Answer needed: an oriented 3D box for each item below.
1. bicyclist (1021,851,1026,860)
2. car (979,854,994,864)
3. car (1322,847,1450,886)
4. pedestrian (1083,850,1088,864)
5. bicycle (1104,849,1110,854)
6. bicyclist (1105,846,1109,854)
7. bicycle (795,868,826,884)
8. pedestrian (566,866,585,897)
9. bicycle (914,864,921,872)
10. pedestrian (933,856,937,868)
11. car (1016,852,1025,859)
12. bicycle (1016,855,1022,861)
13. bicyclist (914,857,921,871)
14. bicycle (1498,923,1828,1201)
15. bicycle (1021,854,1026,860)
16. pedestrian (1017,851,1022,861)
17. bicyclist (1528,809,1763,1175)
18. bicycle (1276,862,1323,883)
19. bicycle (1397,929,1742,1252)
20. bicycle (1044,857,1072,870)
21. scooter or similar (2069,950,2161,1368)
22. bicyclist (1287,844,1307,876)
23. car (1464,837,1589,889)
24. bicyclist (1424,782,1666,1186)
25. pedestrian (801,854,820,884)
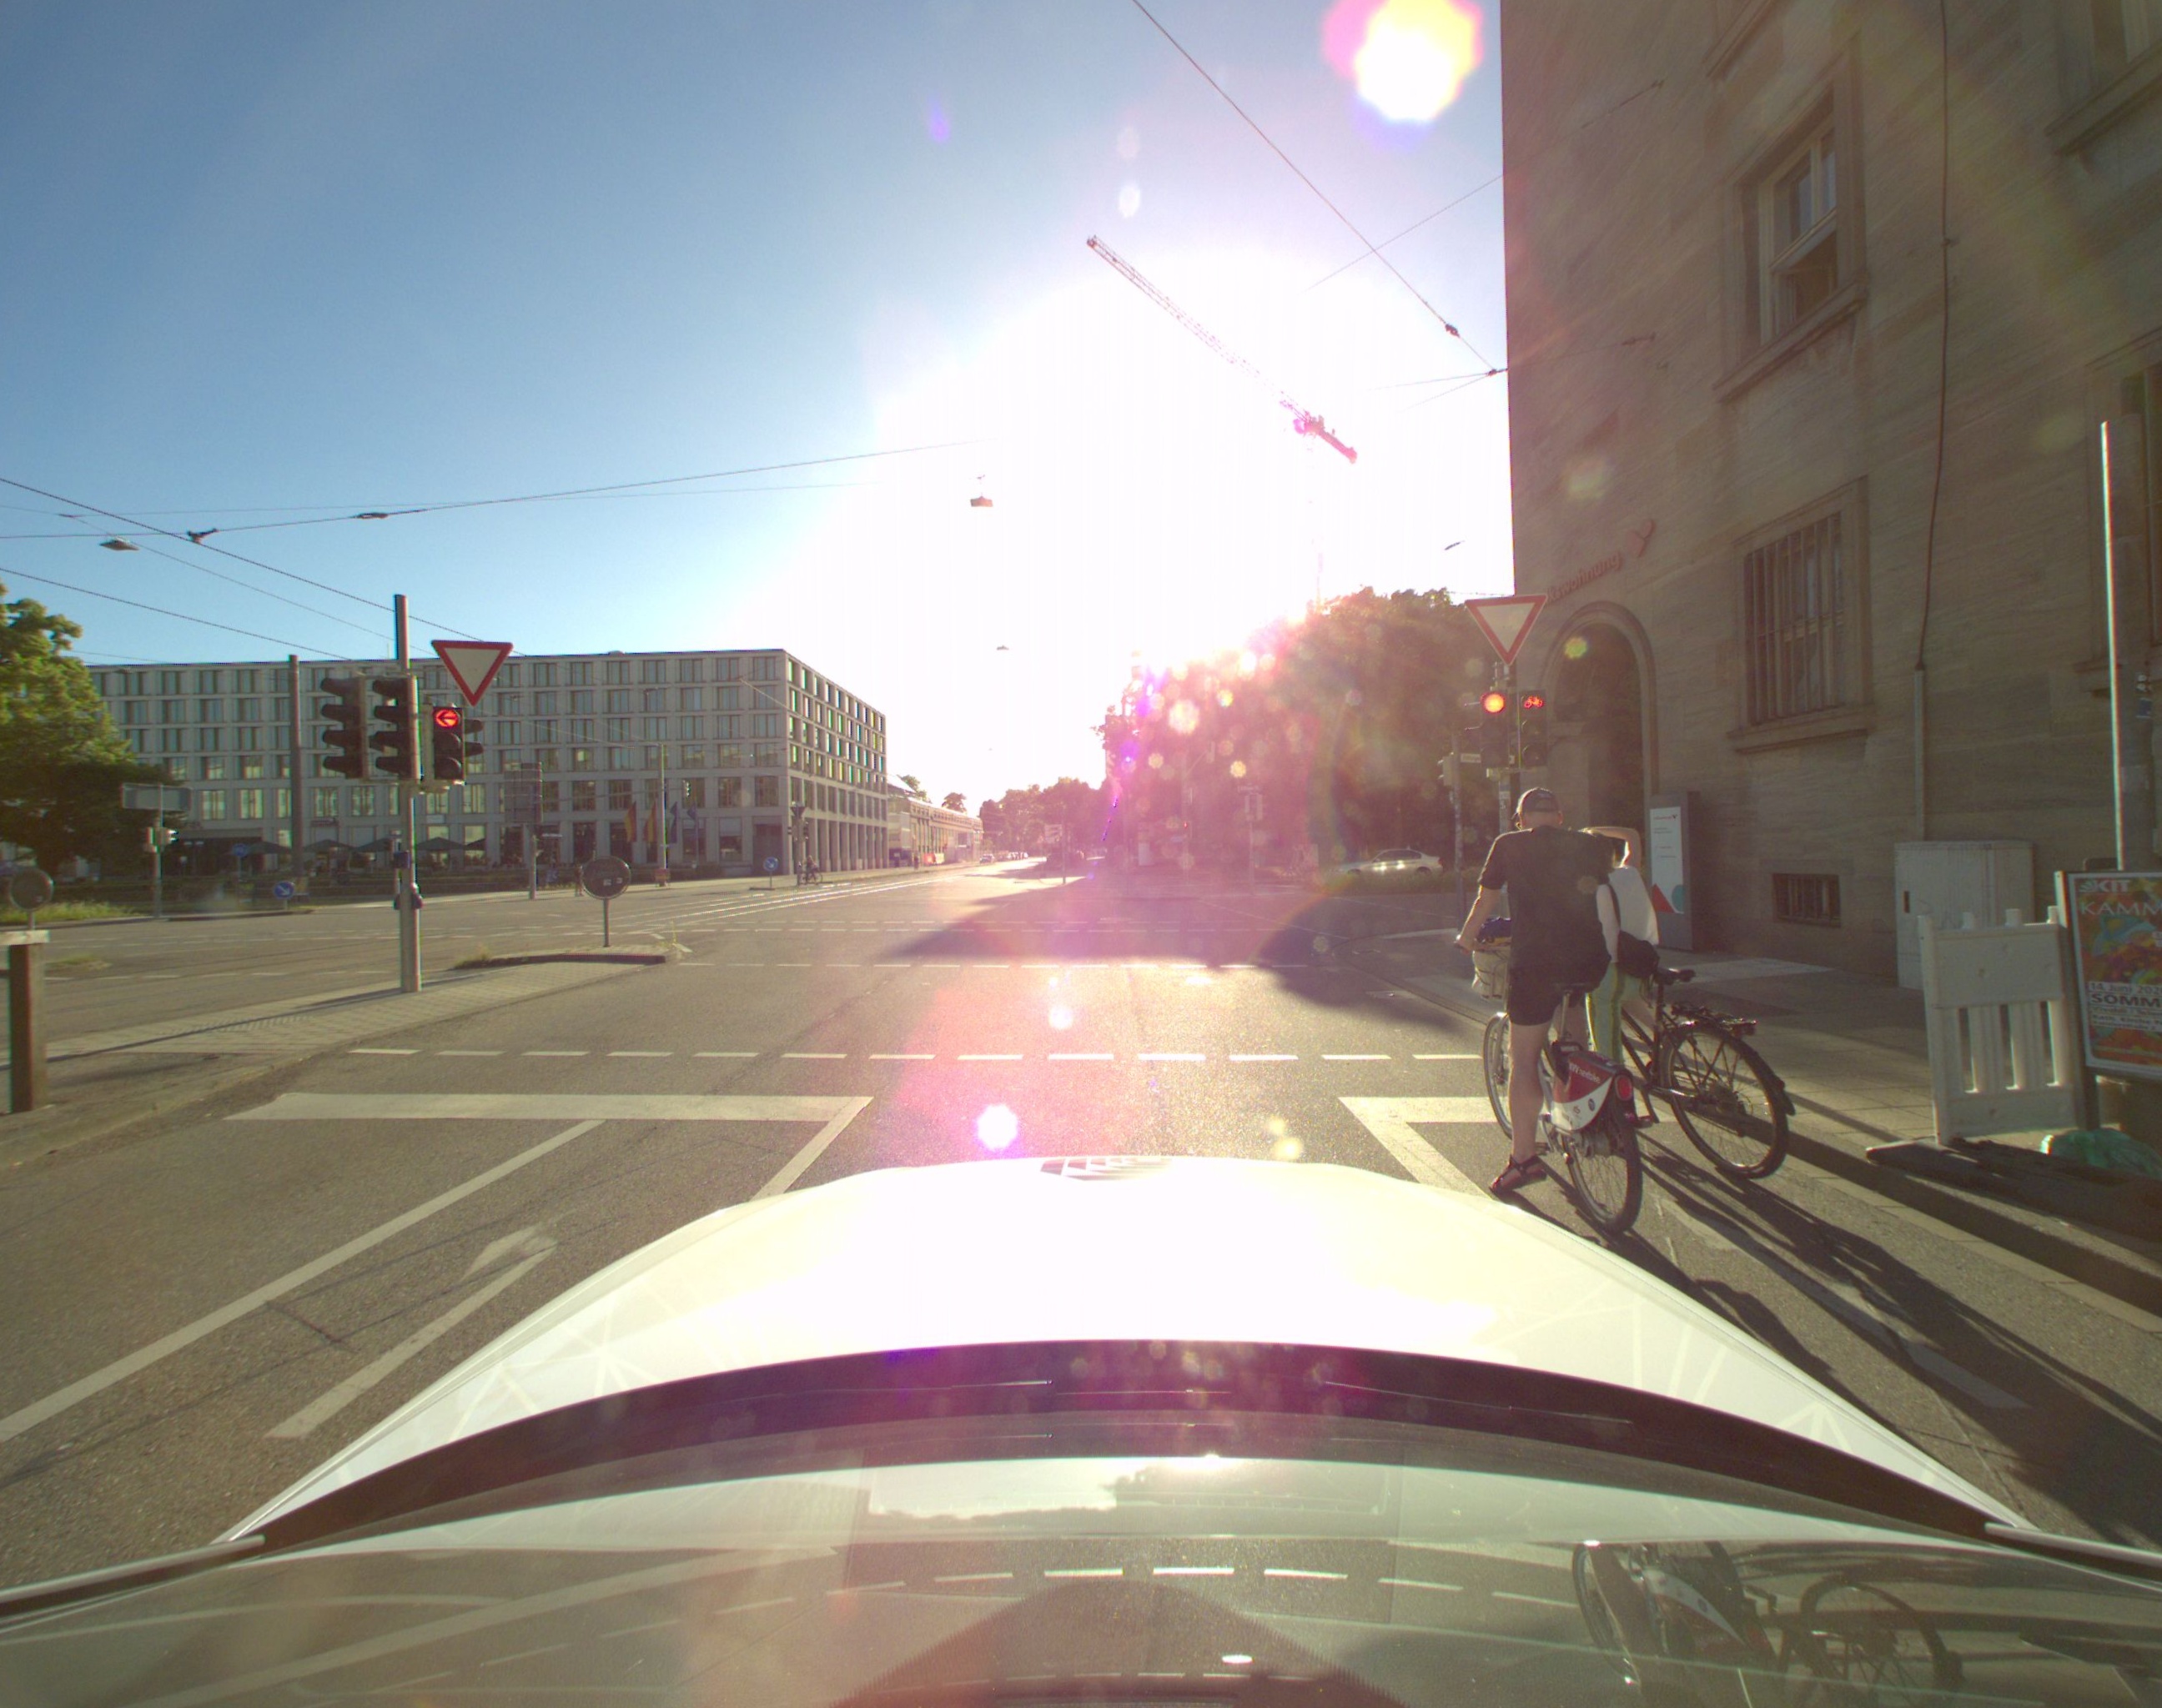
[{"bbox_3d":[-12.114,0.275,171.453,0.748,1.920,1.214,0,-1,1],"label":"bicyclist"},{"bbox_3d":[-15.823,0.776,136.361,1.988,1.599,3.999,-2,0,-1],"label":"car"},{"bbox_3d":[12.437,0.508,33.418,4.559,1.516,2.001,0,-1,1],"label":"car"},{"bbox_3d":[0.558,0.366,97.750,0.576,1.689,0.584,-2,0,-6],"label":"pedestrian"},{"bbox_3d":[6.449,-0.621,200.755,0.890,1.219,2.784,0,-1,-9],"label":"bicycle"},{"bbox_3d":[6.467,-1.018,200.639,0.891,2.014,0.746,0,-1,-10],"label":"bicyclist"},{"bbox_3d":[-14.700,1.189,44.263,1.696,0.823,0.577,-2,0,29],"label":"bicycle"},{"bbox_3d":[-28.242,1.542,45.512,0.600,1.681,0.608,-2,0,9],"label":"pedestrian"},{"bbox_3d":[-18.013,1.567,89.780,0.492,0.839,1.158,-2,0,4],"label":"bicycle"},{"bbox_3d":[-22.937,1.290,127.908,0.478,1.889,0.585,0,-1,-23],"label":"pedestrian"},{"bbox_3d":[-14.463,0.401,195.325,1.988,1.644,3.998,-2,0,-1],"label":"car"},{"bbox_3d":[-12.629,0.766,166.109,0.746,1.205,3.114,0,-1,7],"label":"bicycle"},{"bbox_3d":[-18.033,1.116,89.760,0.492,1.498,0.667,-2,0,4],"label":"bicyclist"},{"bbox_3d":[2.970,0.976,4.406,0.579,1.044,1.748,-2,0,3],"label":"bicycle"},{"bbox_3d":[-12.098,0.650,171.569,0.748,1.205,3.108,0,-1,1],"label":"bicycle"},{"bbox_3d":[-12.621,0.337,166.178,0.746,2.063,1.052,0,-1,7],"label":"pedestrian"},{"bbox_3d":[2.960,0.661,4.372,0.581,1.738,0.951,-2,0,2],"label":"bicyclist"},{"bbox_3d":[9.713,0.834,36.287,1.932,0.889,0.719,-1,-1,8],"label":"bicycle"},{"bbox_3d":[2.189,0.977,3.960,0.621,1.044,1.747,-2,0,1],"label":"bicycle"},{"bbox_3d":[-1.915,0.777,67.441,2.240,0.940,0.653,-2,0,-4],"label":"bicycle"},{"bbox_3d":[3.365,0.856,1.870,0.572,1.150,1.269,0,-2,-6],"label":"scooter or similar"},{"bbox_3d":[9.620,0.271,36.299,0.742,1.406,0.704,-1,-1,8],"label":"bicyclist"},{"bbox_3d":[17.884,0.355,32.861,3.970,2.014,2.002,0,-1,3],"label":"car"},{"bbox_3d":[2.182,0.557,3.950,0.621,1.715,0.913,-2,0,1],"label":"bicyclist"},{"bbox_3d":[-14.676,0.797,44.242,0.735,1.595,0.577,-2,0,29],"label":"pedestrian"}]
